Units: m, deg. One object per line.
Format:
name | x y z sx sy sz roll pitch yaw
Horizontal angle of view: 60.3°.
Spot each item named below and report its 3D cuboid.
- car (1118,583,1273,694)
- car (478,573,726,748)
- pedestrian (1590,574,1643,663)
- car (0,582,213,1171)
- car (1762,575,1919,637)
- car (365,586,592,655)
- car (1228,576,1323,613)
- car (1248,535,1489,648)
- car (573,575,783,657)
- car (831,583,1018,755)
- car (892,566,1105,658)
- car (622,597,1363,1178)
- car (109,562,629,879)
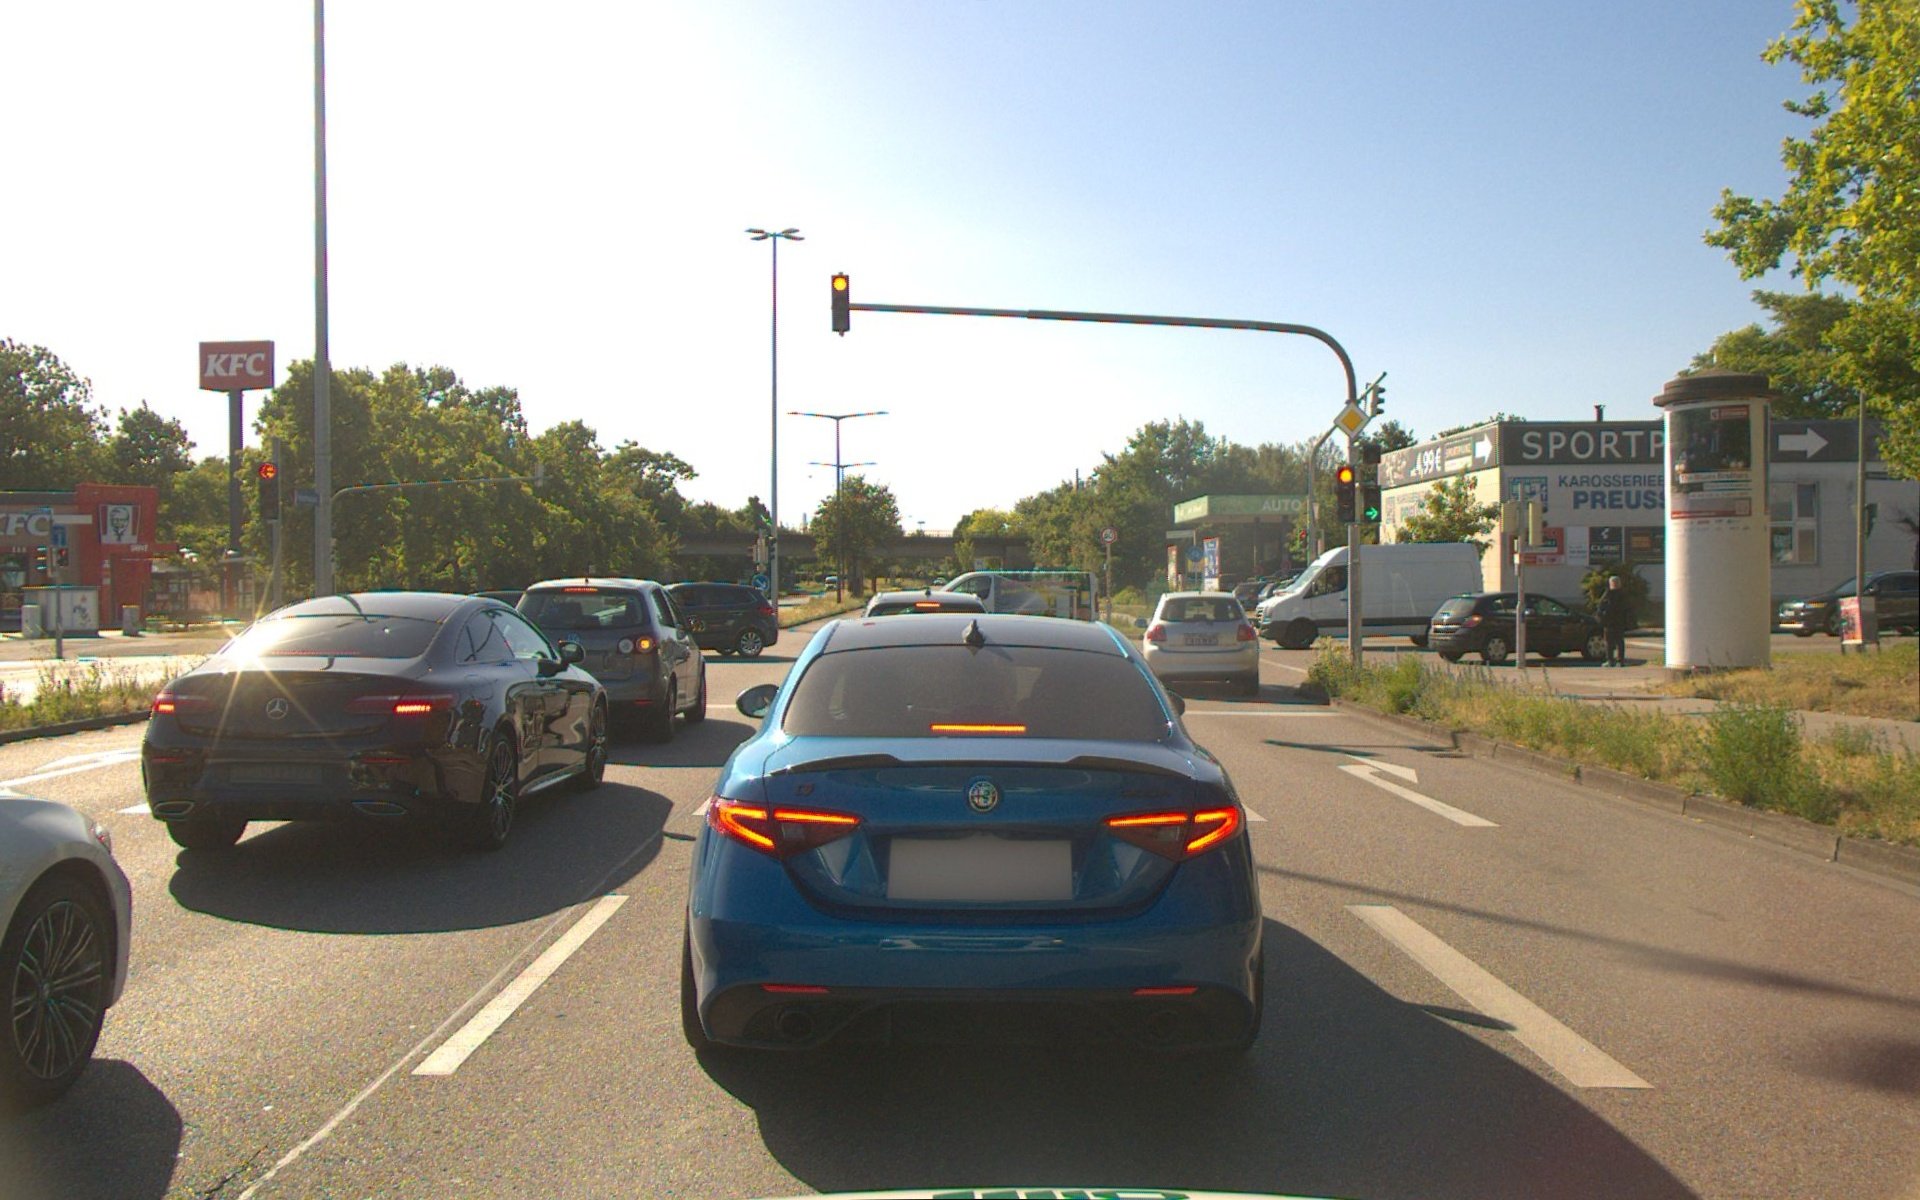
car | 3.585 0.533 25.882 1.747 1.564 4.107 1 0 -1
car | -3.590 0.566 17.335 1.776 1.578 4.351 1 0 -2
pedestrian | 12.667 0.361 31.941 0.800 1.698 0.514 1 -1 -1
car | -3.341 0.711 3.137 1.775 1.512 4.596 0 0 0
car | 23.334 0.170 43.164 3.905 1.534 1.878 1 0 -1
car | -11.051 0.475 38.033 4.764 1.493 1.742 1 0 -29
car | 14.256 -0.261 74.892 3.905 1.579 2.000 1 0 0
car | 10.501 -0.213 42.800 5.715 2.719 2.000 -1 -1 0
car | -6.140 0.361 36.065 4.250 1.678 1.626 1 0 -24
car | -0.289 0.633 16.842 1.669 1.523 3.719 1 0 1
car | 0.874 0.273 39.141 4.858 2.071 1.879 -1 0 -5
car | 0.112 0.743 6.088 1.870 1.447 3.719 1 0 1
car | -3.418 0.595 10.576 1.775 1.578 4.542 1 0 -1
